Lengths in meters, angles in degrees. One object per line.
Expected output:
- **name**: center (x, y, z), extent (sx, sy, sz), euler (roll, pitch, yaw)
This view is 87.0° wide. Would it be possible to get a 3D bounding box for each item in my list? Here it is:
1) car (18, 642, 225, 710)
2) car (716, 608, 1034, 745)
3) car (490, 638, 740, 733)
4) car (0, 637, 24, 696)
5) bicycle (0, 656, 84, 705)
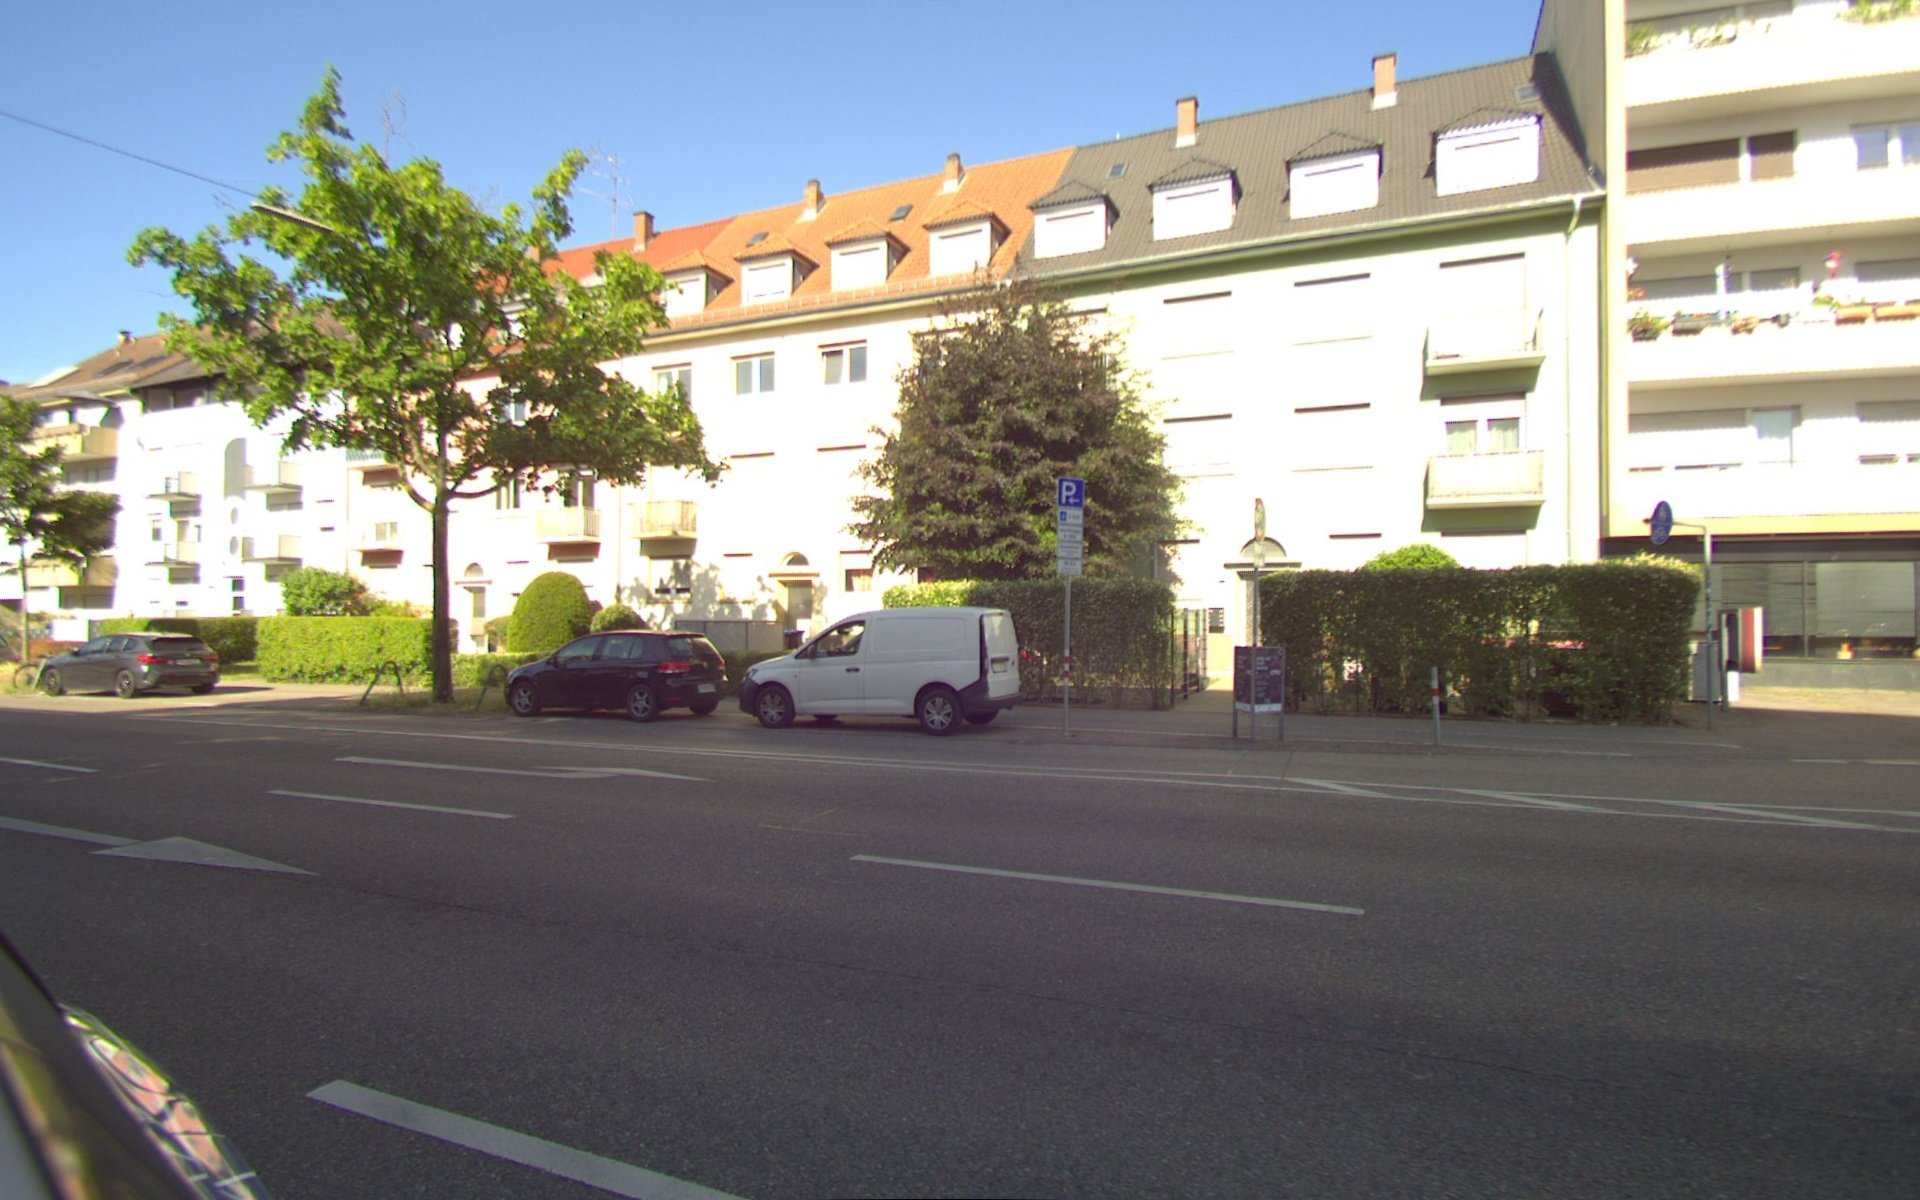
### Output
- **car**: center (-19.299, 1.710, 23.301), extent (4.334, 1.419, 1.761), euler (-2, -2, 21)
- **car**: center (-1.302, 1.098, 15.426), extent (4.531, 1.848, 1.811), euler (-1, -2, 23)
- **car**: center (-5.949, 1.396, 17.425), extent (4.087, 1.468, 1.662), euler (-1, -2, 25)
- **car**: center (-27.225, 1.810, 27.149), extent (3.632, 1.537, 1.669), euler (-2, 0, 21)
- **bicycle**: center (-22.498, 1.946, 24.740), extent (0.544, 1.143, 1.536), euler (-2, -3, 22)
